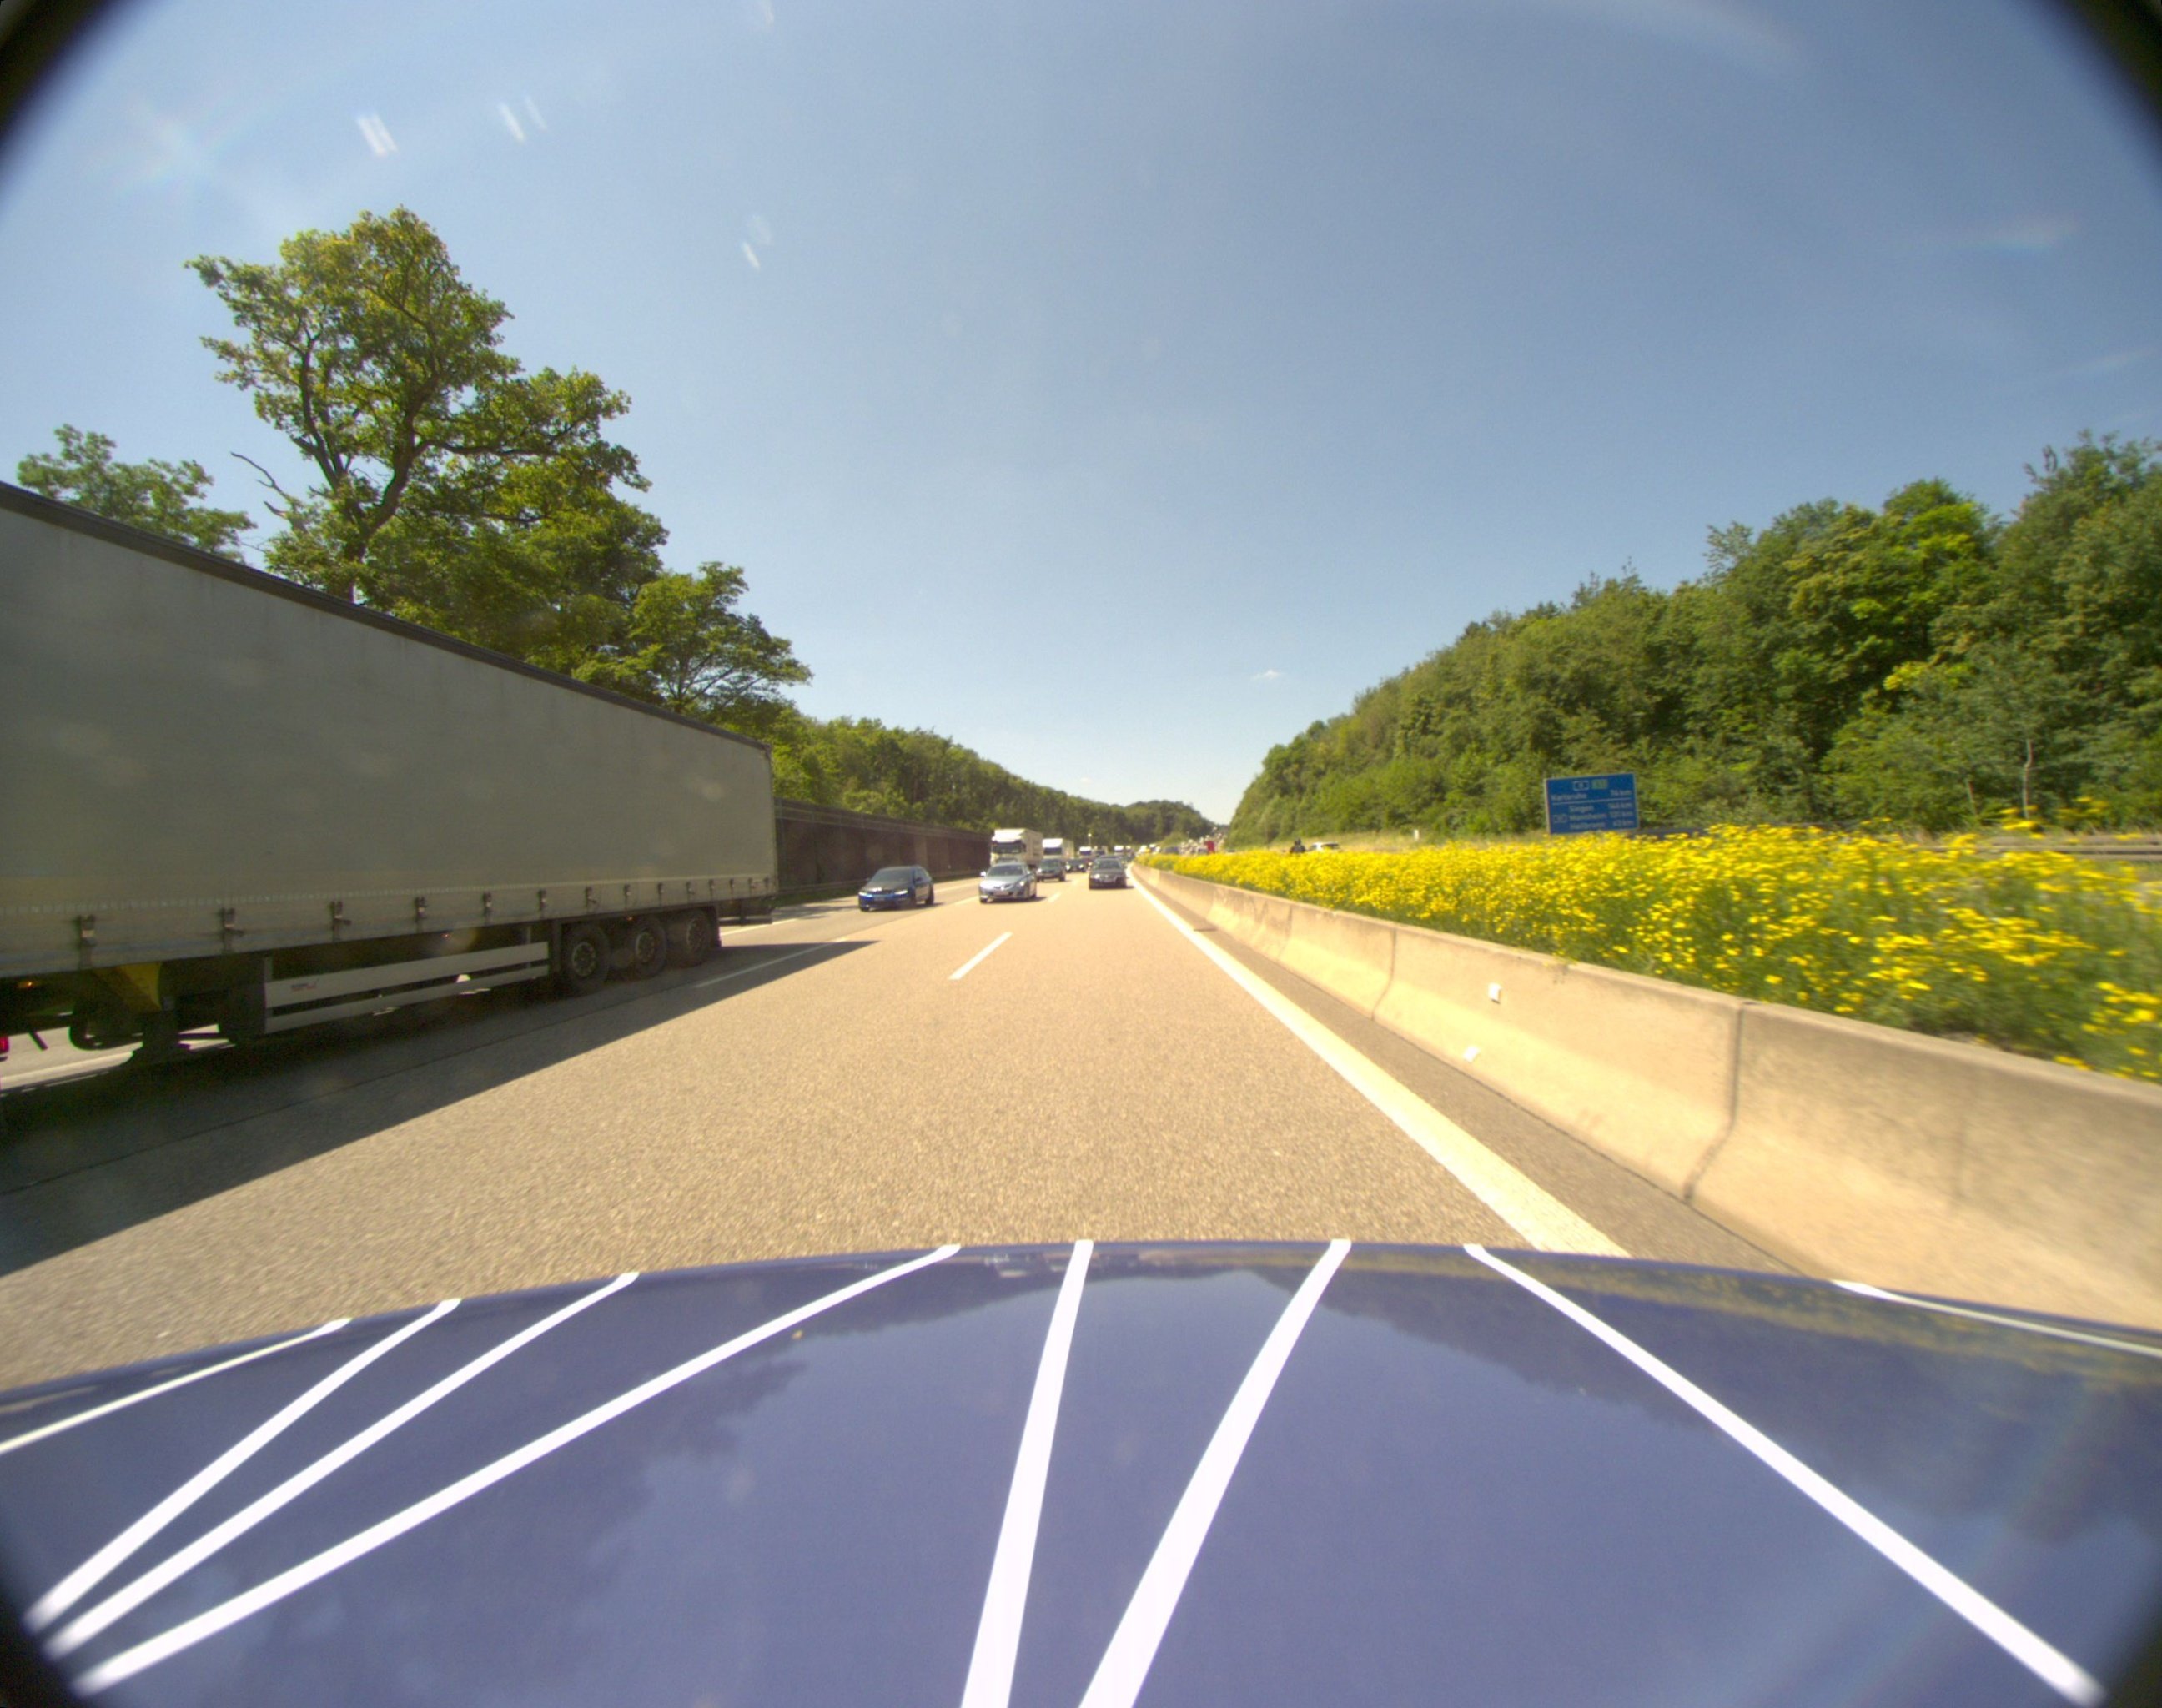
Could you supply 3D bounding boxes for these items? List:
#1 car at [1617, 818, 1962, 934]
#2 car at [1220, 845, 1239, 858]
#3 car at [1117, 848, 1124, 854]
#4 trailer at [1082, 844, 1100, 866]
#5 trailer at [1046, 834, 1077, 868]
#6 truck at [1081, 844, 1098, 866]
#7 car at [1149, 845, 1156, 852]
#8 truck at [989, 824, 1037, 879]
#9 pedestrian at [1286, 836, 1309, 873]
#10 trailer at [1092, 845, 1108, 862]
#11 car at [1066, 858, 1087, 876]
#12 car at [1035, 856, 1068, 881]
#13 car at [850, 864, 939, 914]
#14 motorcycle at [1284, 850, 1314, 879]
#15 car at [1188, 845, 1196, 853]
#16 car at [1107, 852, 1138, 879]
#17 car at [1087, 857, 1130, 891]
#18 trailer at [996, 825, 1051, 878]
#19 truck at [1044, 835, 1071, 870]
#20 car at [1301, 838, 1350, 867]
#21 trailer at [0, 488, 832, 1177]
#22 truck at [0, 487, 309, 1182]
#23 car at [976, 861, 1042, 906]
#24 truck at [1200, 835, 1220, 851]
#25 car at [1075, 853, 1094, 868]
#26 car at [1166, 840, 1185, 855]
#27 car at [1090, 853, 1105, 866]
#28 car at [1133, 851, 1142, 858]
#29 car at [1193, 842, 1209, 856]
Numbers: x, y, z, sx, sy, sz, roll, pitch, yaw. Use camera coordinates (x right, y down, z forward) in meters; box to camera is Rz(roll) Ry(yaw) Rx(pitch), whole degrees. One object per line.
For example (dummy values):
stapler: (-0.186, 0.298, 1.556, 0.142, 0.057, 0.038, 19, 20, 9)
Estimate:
car: (10.966, 0.293, 12.244, 1.809, 1.480, 4.000, -3, 0, 1)
car: (19.637, -0.351, 100.734, 1.780, 1.619, 4.118, -2, 0, 3)
car: (12.746, -0.956, 245.932, 1.998, 1.641, 4.000, -3, 0, 3)
trailer: (2.201, 0.189, 160.504, 2.853, 4.391, 13.030, -3, 0, 5)
trailer: (-2.458, -0.353, 99.751, 2.541, 4.149, 10.180, -3, 0, 6)
truck: (1.698, 0.216, 153.613, 2.853, 4.382, 5.241, -3, 0, 4)
car: (22.471, -1.615, 238.104, 1.998, 2.002, 4.001, -3, 0, 5)
truck: (-5.471, -0.214, 62.017, 2.811, 4.190, 5.422, -3, 0, 4)
pedestrian: (8.109, 0.017, 28.443, 0.663, 1.357, 0.532, -3, 1, 1)
trailer: (4.604, -0.094, 185.648, 3.154, 4.061, 6.185, -3, 0, 7)
car: (-0.405, 1.272, 76.996, 1.998, 1.641, 4.000, -3, 0, 1)
car: (-1.905, 0.932, 50.692, 1.907, 1.550, 4.000, -3, 0, 1)
car: (-6.387, 1.158, 26.550, 1.860, 1.484, 4.177, -3, 0, 2)
motorcycle: (8.128, 0.392, 28.422, 0.668, 1.035, 1.476, -3, 0, 1)
car: (33.485, -1.539, 229.455, 1.998, 2.385, 4.001, -3, 0, 5)
car: (2.859, 0.765, 52.629, 1.998, 1.641, 4.000, -2, 1, 2)
car: (1.282, 0.929, 36.659, 1.907, 1.410, 4.000, -3, 0, 1)
trailer: (-4.978, -0.231, 68.918, 2.821, 4.190, 13.468, -3, 0, 4)
truck: (-2.948, -0.168, 95.068, 2.544, 4.150, 4.747, -3, 0, 6)
car: (16.230, -0.126, 50.664, 1.886, 1.755, 4.322, -3, 0, 1)
trailer: (-7.470, -0.167, 11.221, 2.604, 4.067, 13.591, -2, 1, 1)
truck: (-7.639, -0.075, 3.309, 2.604, 4.067, 5.552, -2, 1, 1)
car: (-2.623, 1.054, 28.667, 1.860, 1.426, 4.177, -3, 0, 2)
truck: (31.737, -2.753, 187.185, 3.929, 3.697, 16.747, -2, 0, 7)
car: (0.478, 0.777, 90.487, 1.998, 1.641, 4.000, -3, 0, 3)
car: (13.219, -0.893, 106.433, 2.328, 2.002, 6.185, -2, 0, 4)
car: (2.423, 0.787, 108.485, 1.998, 1.641, 4.000, -3, 0, 3)
car: (14.426, 0.127, 194.613, 1.998, 1.641, 4.000, -3, 0, 3)
car: (23.142, -0.995, 146.716, 2.161, 2.608, 5.976, -2, 0, 2)
